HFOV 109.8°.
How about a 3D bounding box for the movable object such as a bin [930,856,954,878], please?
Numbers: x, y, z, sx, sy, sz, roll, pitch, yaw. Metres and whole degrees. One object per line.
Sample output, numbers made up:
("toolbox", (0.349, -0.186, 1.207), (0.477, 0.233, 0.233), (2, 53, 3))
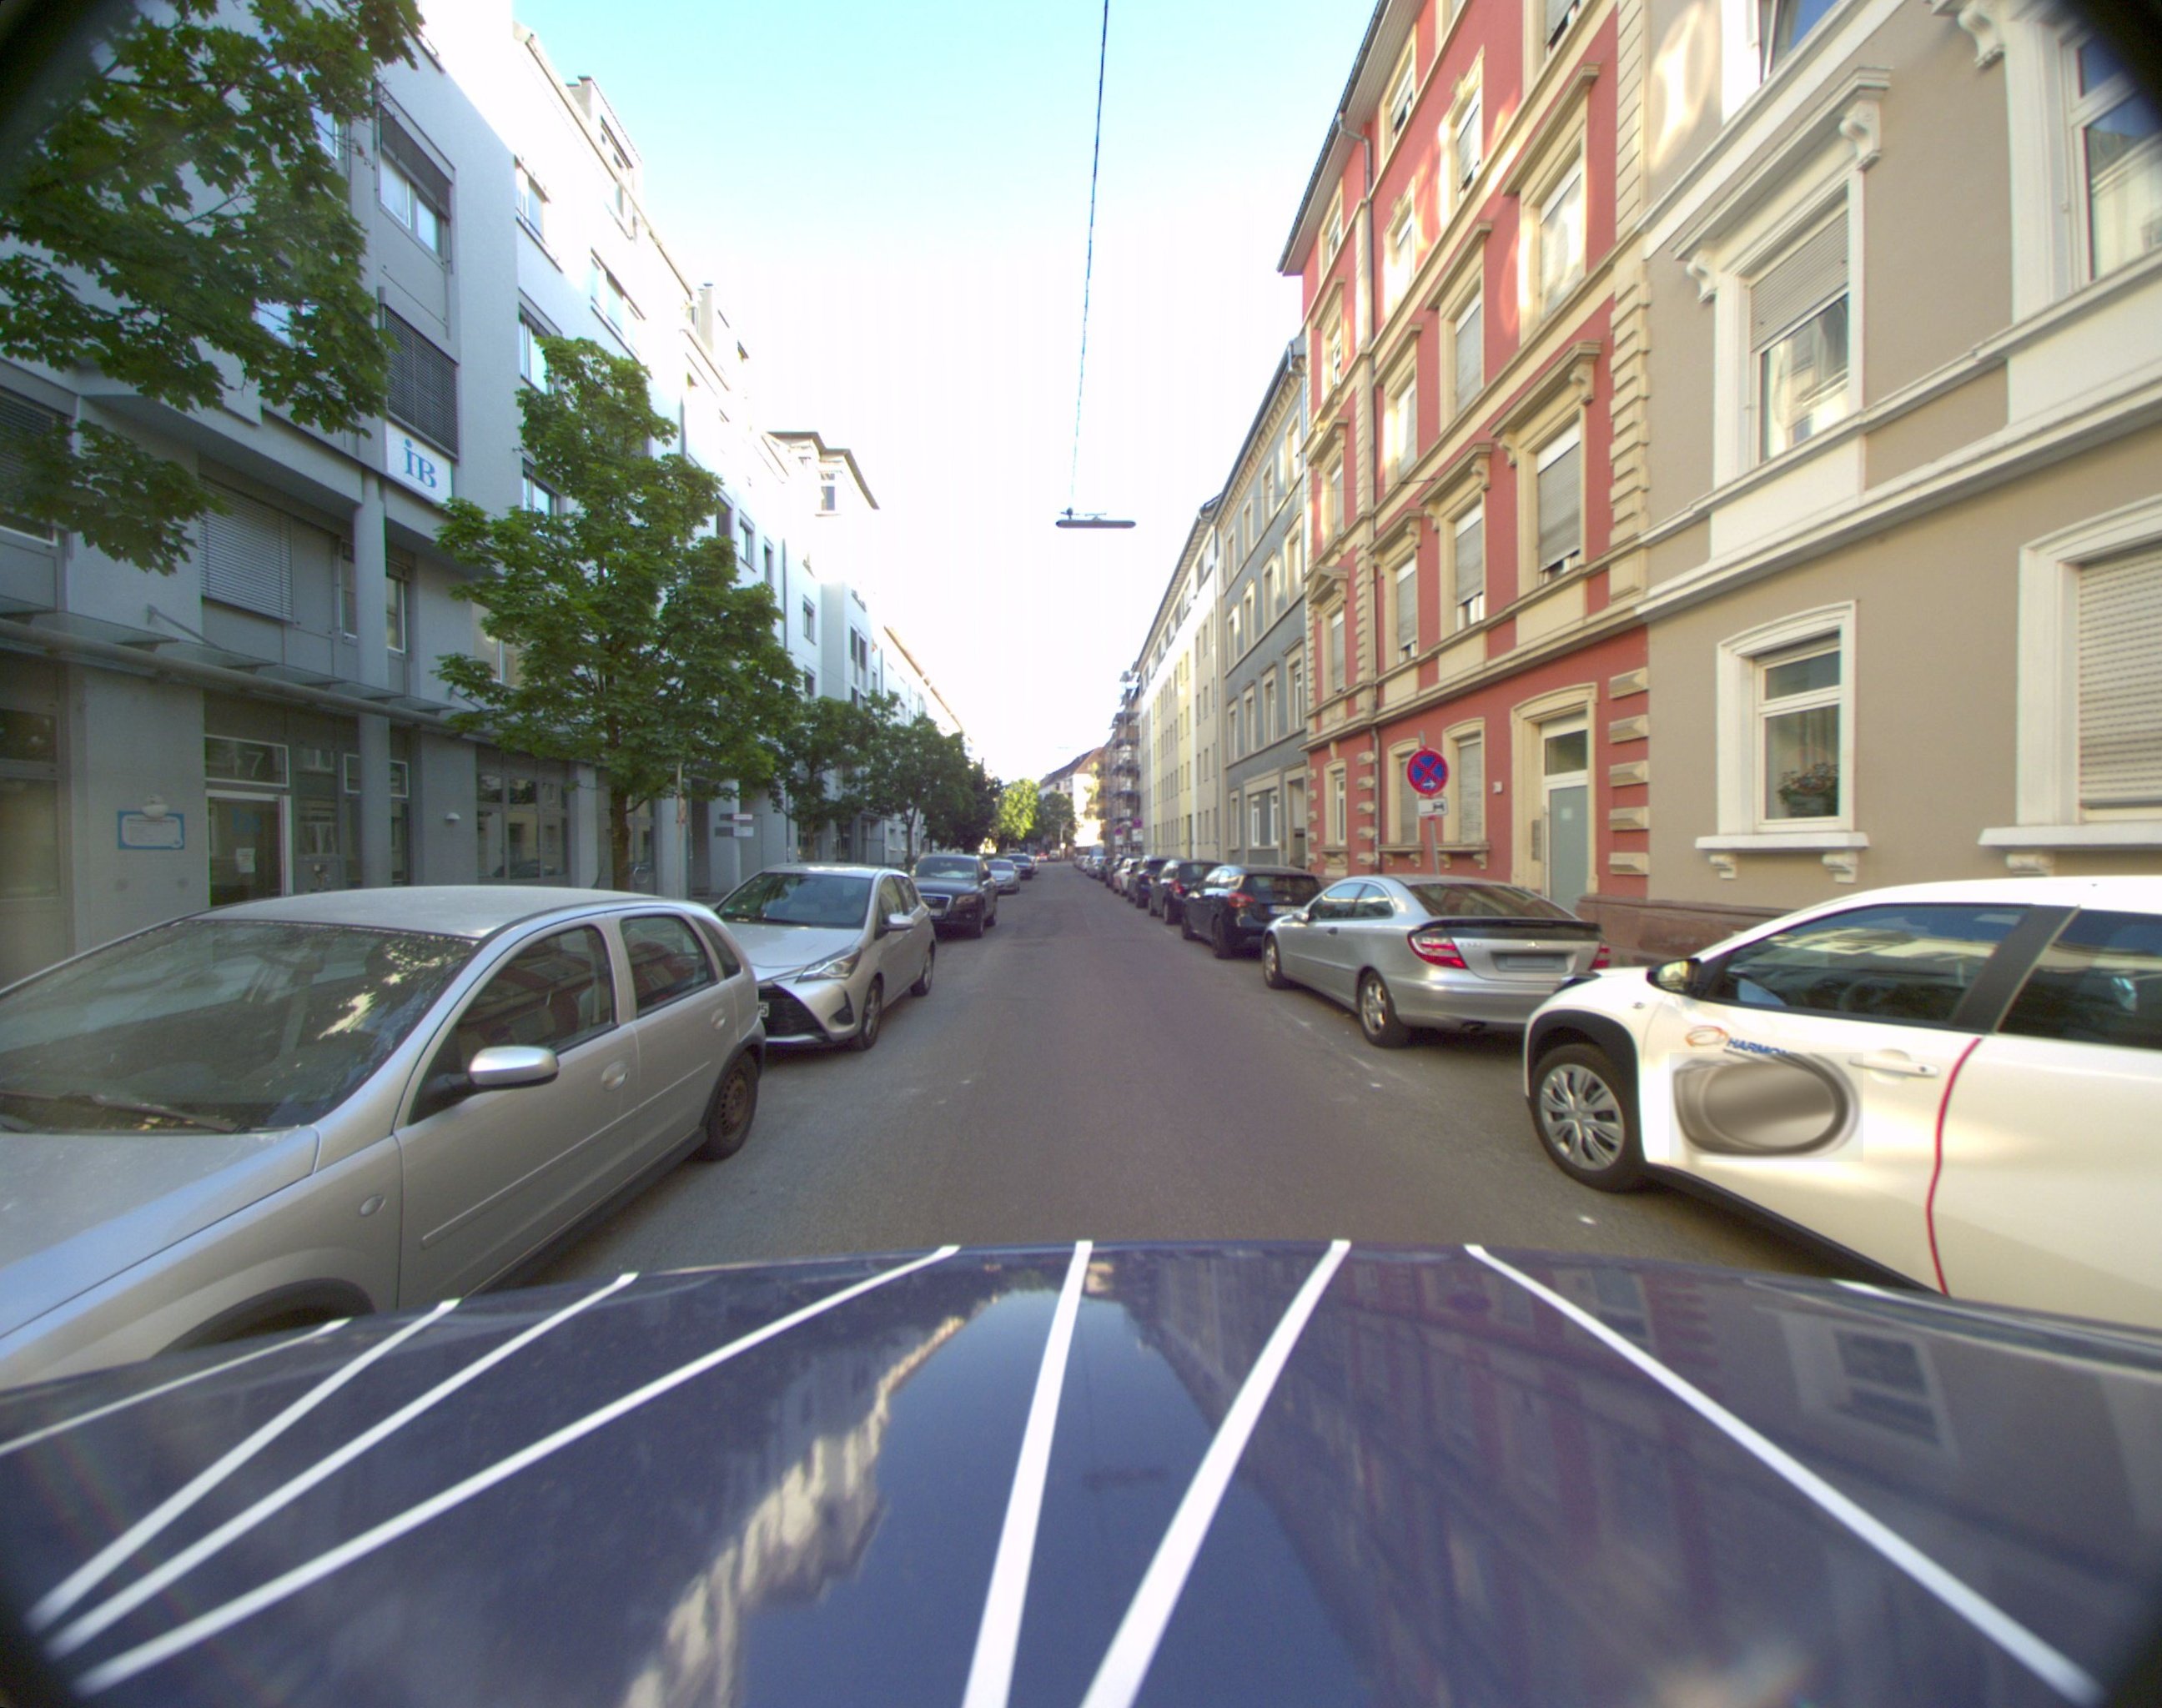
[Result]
("movable object such as a bin", (-8.328, 0.764, 45.577), (1.265, 1.313, 1.138), (0, 1, -2))

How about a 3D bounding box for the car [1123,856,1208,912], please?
("car", (2.505, 0.856, 23.548), (1.926, 1.551, 4.266), (1, 0, -3))

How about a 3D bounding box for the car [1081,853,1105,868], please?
("car", (1.142, 0.613, 74.369), (1.999, 1.439, 3.998), (1, 0, -3))

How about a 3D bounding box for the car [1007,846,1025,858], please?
("car", (-12.035, -0.369, 140.736), (2.163, 2.270, 6.199), (1, 0, -15))

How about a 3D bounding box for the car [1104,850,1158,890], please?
("car", (2.225, 0.693, 34.825), (1.926, 1.654, 4.467), (1, 0, -3))

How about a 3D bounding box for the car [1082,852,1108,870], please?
("car", (1.239, 0.601, 69.459), (1.999, 1.496, 3.998), (1, 0, -3))

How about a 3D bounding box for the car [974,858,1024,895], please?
("car", (-3.453, 0.902, 32.658), (1.768, 1.421, 4.343), (1, 0, -2))

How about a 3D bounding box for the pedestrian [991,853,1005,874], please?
("pedestrian", (-5.691, 0.662, 52.330), (0.801, 1.455, 0.870), (1, 1, 2))

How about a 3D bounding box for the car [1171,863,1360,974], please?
("car", (2.845, 0.930, 12.760), (1.926, 1.475, 4.266), (1, 0, -3))

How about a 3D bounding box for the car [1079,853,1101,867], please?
("car", (0.883, 0.620, 79.677), (1.999, 1.423, 3.998), (1, 0, -3))

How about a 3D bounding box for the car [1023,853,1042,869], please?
("car", (-4.498, 0.656, 71.061), (1.681, 1.411, 4.134), (1, 0, -2))

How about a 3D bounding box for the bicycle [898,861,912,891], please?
("bicycle", (-7.126, 0.875, 30.824), (0.522, 1.161, 1.738), (1, 1, -12))

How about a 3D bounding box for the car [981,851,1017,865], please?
("car", (-9.490, 0.485, 88.349), (3.998, 1.556, 1.999), (1, 1, -4))

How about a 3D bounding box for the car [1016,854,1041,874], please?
("car", (-4.128, 0.753, 59.930), (1.680, 1.474, 3.652), (1, 0, 1))

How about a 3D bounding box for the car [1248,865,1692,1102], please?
("car", (3.162, 0.929, 7.367), (1.926, 1.551, 4.266), (1, 0, -3))

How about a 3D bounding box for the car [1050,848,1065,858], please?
("car", (-4.089, -0.193, 132.247), (2.081, 1.760, 4.214), (1, 0, -8))

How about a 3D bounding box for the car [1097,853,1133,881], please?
("car", (1.942, 0.721, 44.882), (1.784, 1.480, 4.419), (1, 0, -2))

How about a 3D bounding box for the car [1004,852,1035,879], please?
("car", (-3.928, 0.720, 49.328), (1.876, 1.626, 4.720), (1, 0, -3))

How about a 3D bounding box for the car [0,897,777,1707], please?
("car", (-2.608, 1.004, 2.470), (1.680, 1.467, 3.729), (1, 0, 1))

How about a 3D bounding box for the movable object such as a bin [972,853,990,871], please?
("movable object such as a bin", (-7.906, 0.604, 60.036), (1.288, 1.428, 1.223), (0, 1, -2))

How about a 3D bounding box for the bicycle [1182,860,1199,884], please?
("bicycle", (5.201, 0.834, 36.130), (0.451, 1.068, 1.751), (-2, 1, -2))

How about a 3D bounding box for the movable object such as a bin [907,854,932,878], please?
("movable object such as a bin", (-9.626, 0.703, 45.283), (1.265, 1.428, 1.138), (0, 1, -2))

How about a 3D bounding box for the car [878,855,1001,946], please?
("car", (-2.835, 0.865, 16.189), (1.890, 1.613, 4.433), (1, 0, -2))

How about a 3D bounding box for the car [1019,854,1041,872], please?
("car", (-4.298, 0.726, 64.876), (1.681, 1.411, 4.135), (1, 0, -2))

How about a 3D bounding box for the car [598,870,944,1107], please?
("car", (-2.504, 0.976, 7.239), (1.681, 1.516, 3.970), (1, 0, 0))

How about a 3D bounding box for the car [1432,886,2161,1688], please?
("car", (3.162, 0.966, 2.566), (1.925, 1.498, 4.266), (1, 0, 0))

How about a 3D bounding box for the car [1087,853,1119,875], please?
("car", (1.556, 0.678, 55.097), (1.928, 1.480, 4.615), (1, 0, -3))

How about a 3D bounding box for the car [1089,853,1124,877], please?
("car", (1.639, 0.693, 49.730), (1.928, 1.480, 4.616), (1, 0, -2))

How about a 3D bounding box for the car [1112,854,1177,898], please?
("car", (2.364, 0.803, 29.448), (1.926, 1.551, 4.266), (1, 0, -3))

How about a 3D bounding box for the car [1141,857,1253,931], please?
("car", (2.705, 0.885, 18.733), (1.906, 1.551, 4.239), (1, 0, -3))

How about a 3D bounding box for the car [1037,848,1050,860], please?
("car", (-6.351, -0.025, 128.902), (1.999, 2.002, 3.998), (-2, 1, -3))

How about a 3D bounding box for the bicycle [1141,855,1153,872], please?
("bicycle", (4.768, 0.673, 54.994), (0.479, 1.162, 1.731), (-4, 1, -4))

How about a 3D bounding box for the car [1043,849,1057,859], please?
("car", (-5.645, -0.067, 137.949), (2.081, 1.760, 4.214), (1, 0, -8))
